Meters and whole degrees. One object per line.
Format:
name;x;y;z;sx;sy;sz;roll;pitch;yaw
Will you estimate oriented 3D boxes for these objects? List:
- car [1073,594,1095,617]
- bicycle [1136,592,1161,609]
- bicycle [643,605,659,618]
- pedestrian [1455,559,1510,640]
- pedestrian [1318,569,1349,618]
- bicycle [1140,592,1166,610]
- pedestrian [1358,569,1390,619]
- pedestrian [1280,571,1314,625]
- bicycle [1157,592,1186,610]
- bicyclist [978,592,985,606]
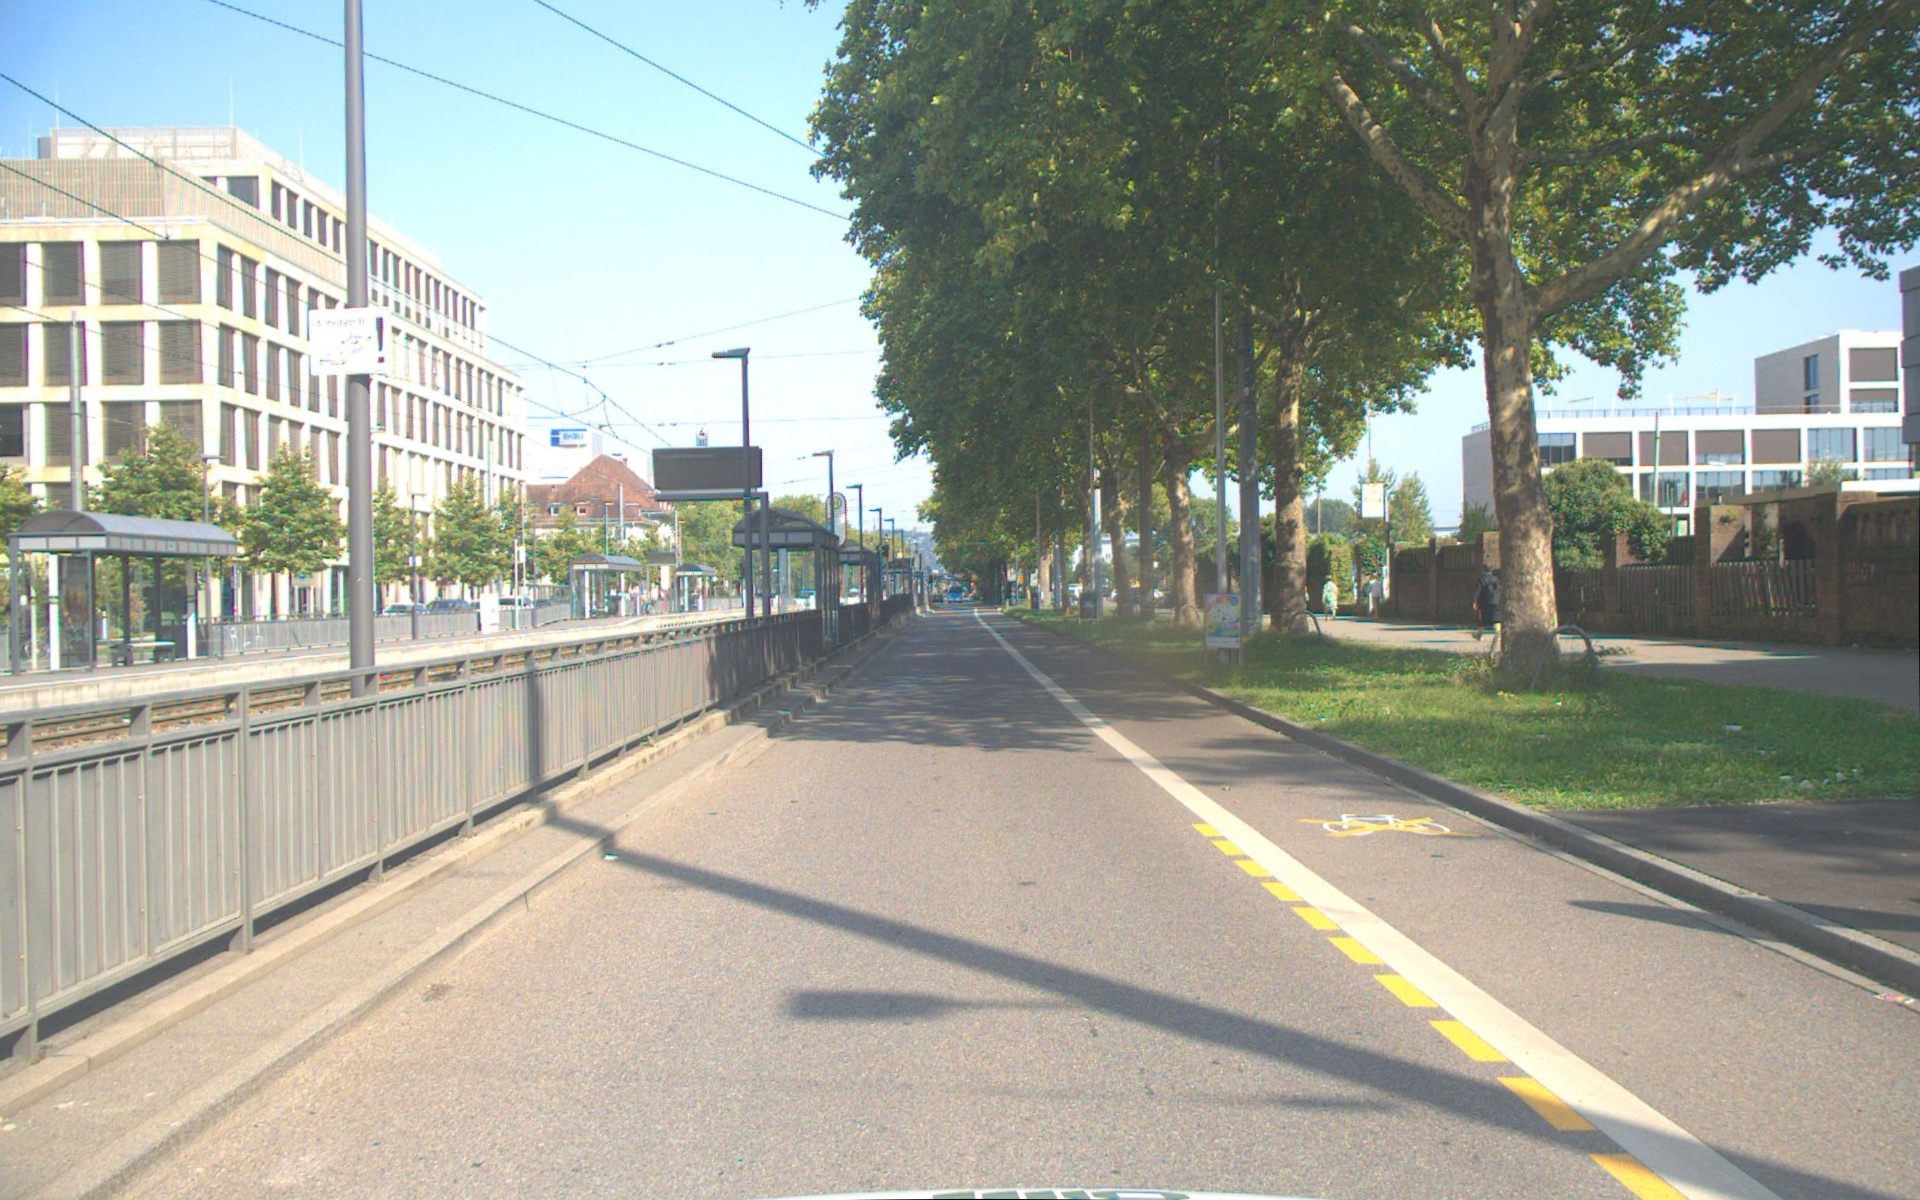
car;11.460;0.489;152.649;1.686;2.084;4.461;-1;0;0
bicycle;11.658;0.058;102.345;0.502;0.986;1.636;-3;0;-41
bicycle;-17.478;0.651;93.520;0.467;0.674;1.614;-1;0;4
pedestrian;11.304;-0.015;35.798;0.802;1.716;1.012;-2;0;0
pedestrian;12.825;-0.237;56.787;0.790;1.632;0.947;-3;0;0
bicycle;11.767;0.068;101.009;0.502;0.986;1.636;-3;0;-41
pedestrian;14.166;-0.208;56.557;0.790;1.632;0.947;-3;0;0
pedestrian;10.727;-0.076;52.660;0.790;1.664;0.947;-3;0;0
bicycle;12.588;0.056;98.517;1.621;0.986;0.506;-3;0;5
bicyclist;2.201;-0.118;169.079;0.691;1.486;1.009;0;0;0
